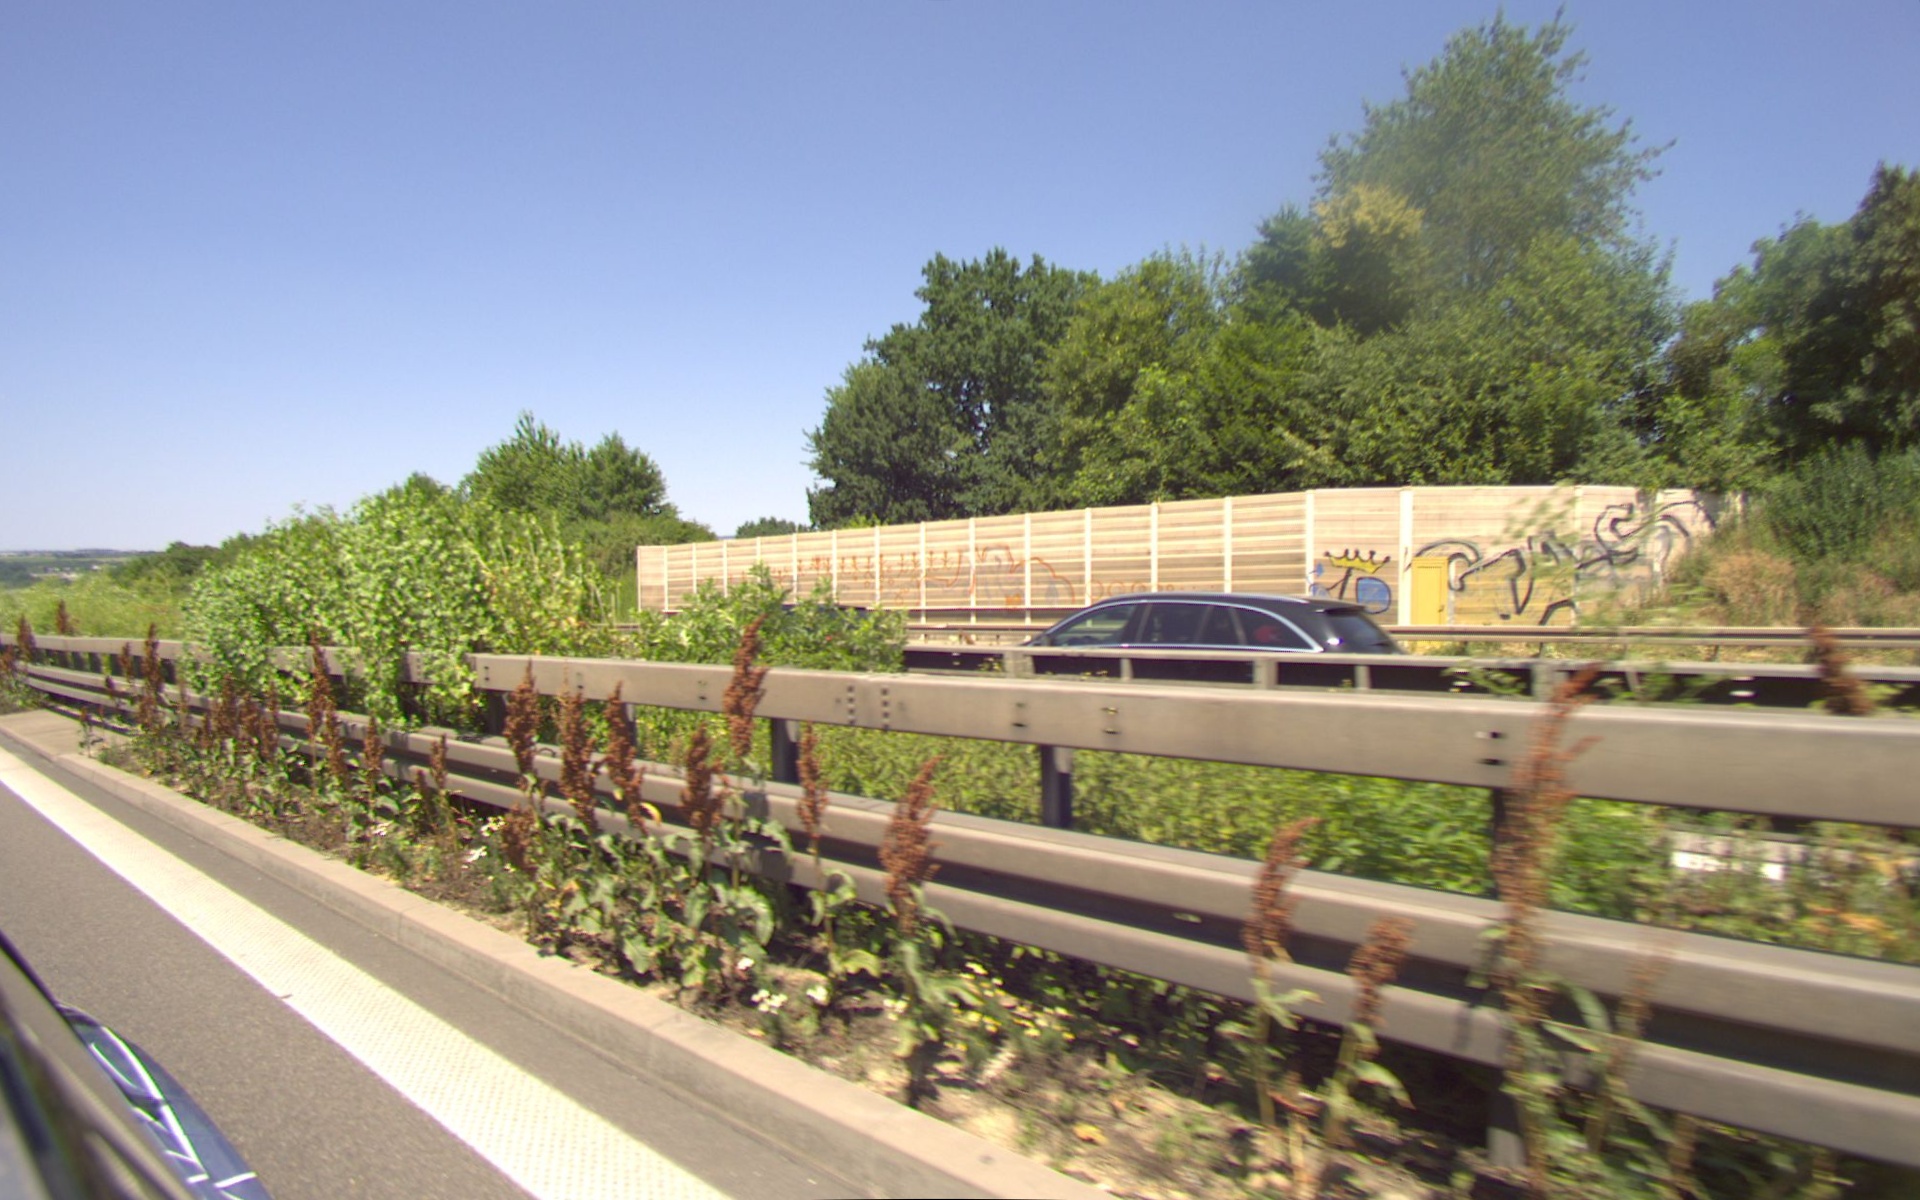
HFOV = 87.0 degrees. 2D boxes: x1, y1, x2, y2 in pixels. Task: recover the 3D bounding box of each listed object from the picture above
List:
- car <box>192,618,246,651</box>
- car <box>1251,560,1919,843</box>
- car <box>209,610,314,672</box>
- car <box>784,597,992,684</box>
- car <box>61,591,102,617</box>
[{"bbox_3d":[-47.729,2.221,65.142,3.998,2.029,1.973,-1,-1,41],"label":"car"},{"bbox_3d":[4.447,0.534,6.714,4.486,1.438,1.817,-2,0,41],"label":"car"},{"bbox_3d":[-19.949,1.139,28.843,3.871,1.630,1.585,-1,-1,42],"label":"car"},{"bbox_3d":[-1.261,0.643,16.984,3.373,1.312,1.546,-2,0,41],"label":"car"},{"bbox_3d":[-72.198,0.320,83.160,3.998,2.029,1.973,-1,-1,41],"label":"car"}]
